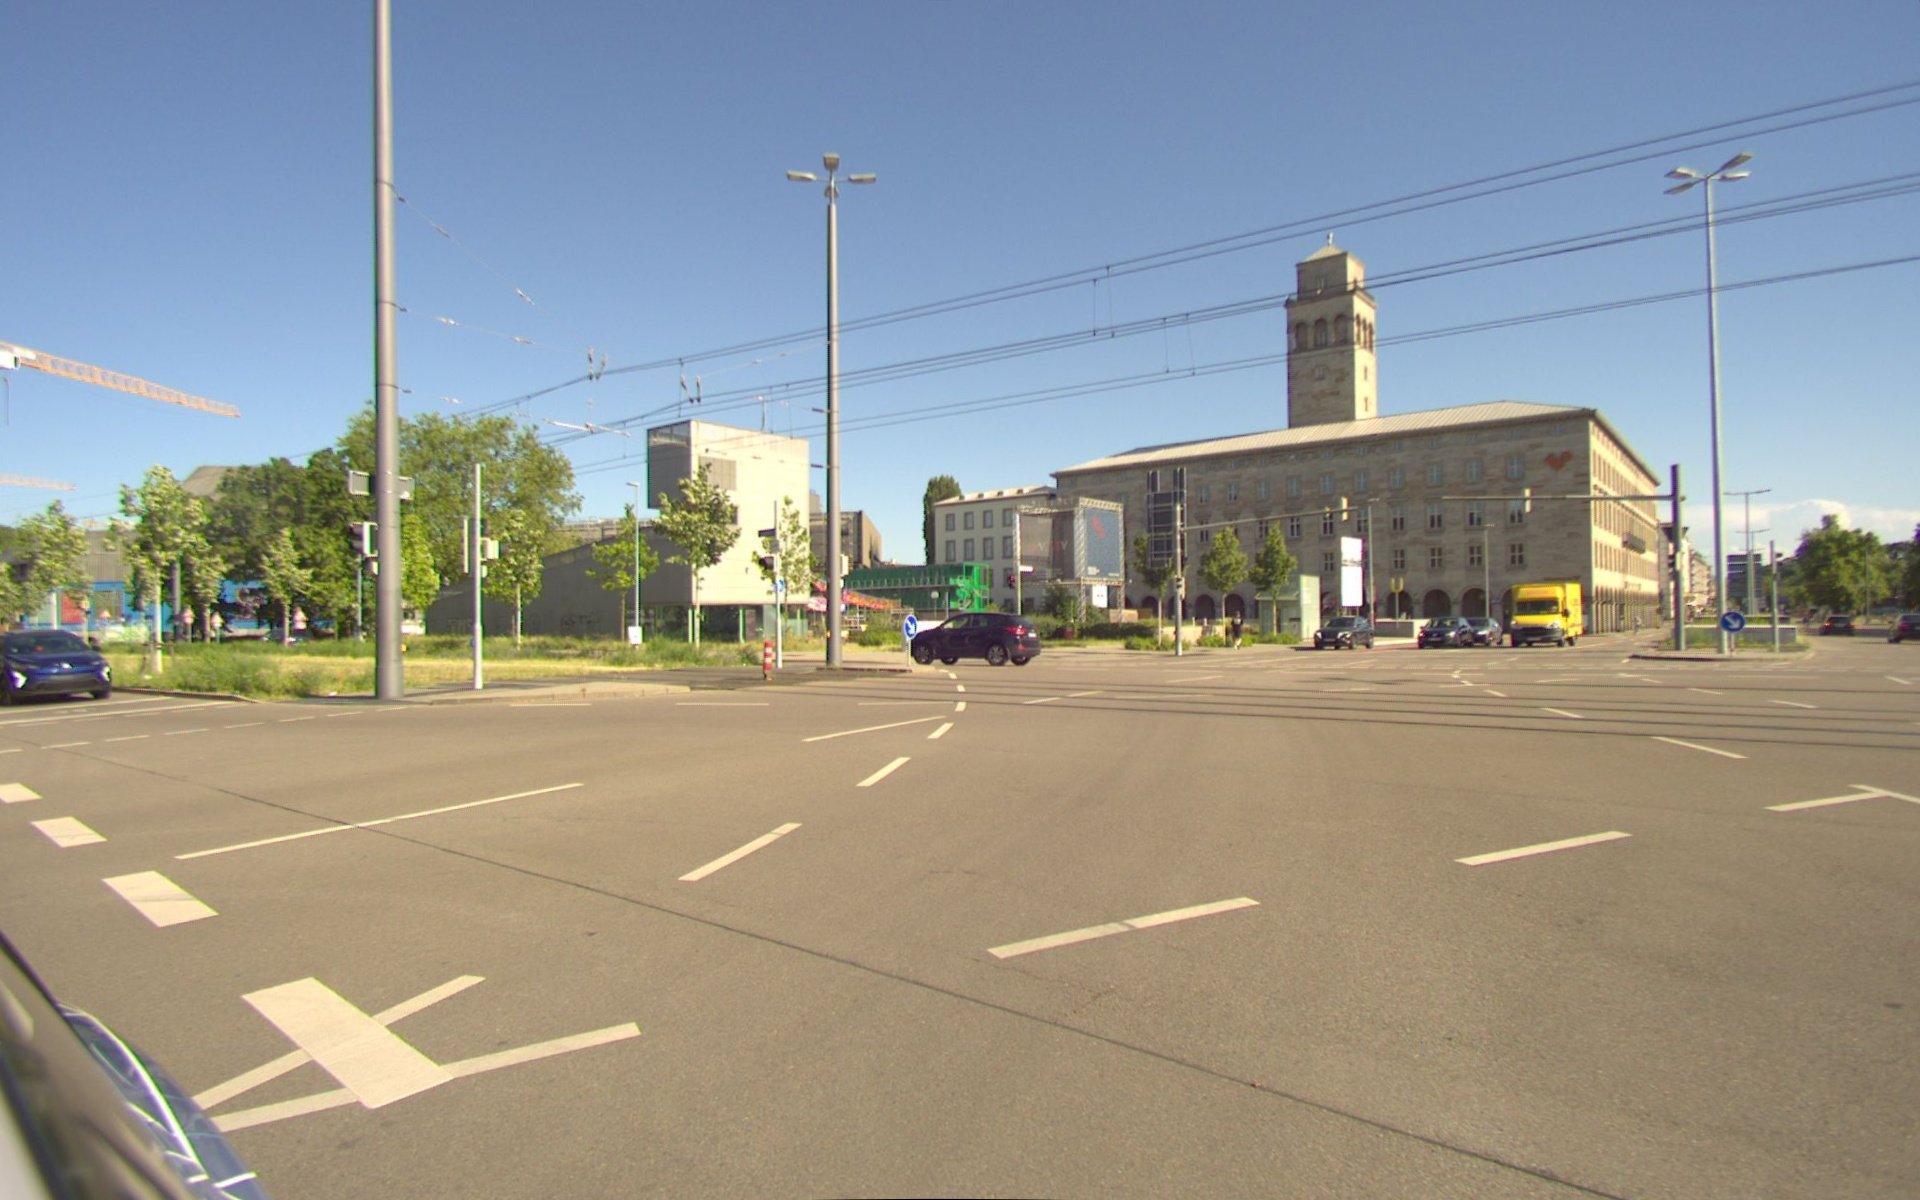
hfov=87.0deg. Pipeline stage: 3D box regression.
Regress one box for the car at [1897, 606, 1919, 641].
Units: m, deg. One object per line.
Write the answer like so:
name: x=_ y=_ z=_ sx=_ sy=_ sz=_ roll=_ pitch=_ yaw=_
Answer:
car: x=46.062 y=1.099 z=48.149 sx=1.999 sy=1.613 sz=3.946 roll=-2 pitch=-1 yaw=41

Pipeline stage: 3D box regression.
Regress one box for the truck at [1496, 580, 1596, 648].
truck: x=26.565 y=0.597 z=45.696 sx=2.461 sy=2.814 sz=7.925 roll=-2 pitch=-1 yaw=41

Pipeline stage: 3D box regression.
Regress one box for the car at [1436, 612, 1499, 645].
car: x=25.553 y=1.396 z=50.917 sx=1.902 sy=1.551 sz=3.946 roll=-2 pitch=-1 yaw=41

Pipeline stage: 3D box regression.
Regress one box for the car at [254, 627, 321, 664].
car: x=-37.546 y=2.547 z=56.491 sx=3.992 sy=1.970 sz=1.854 roll=-2 pitch=-2 yaw=36

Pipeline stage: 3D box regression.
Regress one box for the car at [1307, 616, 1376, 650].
car: x=18.882 y=1.595 z=50.004 sx=1.902 sy=1.551 sz=3.946 roll=-2 pitch=-1 yaw=41

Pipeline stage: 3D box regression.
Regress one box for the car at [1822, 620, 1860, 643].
car: x=63.572 y=2.257 z=73.047 sx=1.999 sy=1.613 sz=3.946 roll=-2 pitch=-1 yaw=41

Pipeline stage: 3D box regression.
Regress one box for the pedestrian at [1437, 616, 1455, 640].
pedestrian: x=36.333 y=2.096 z=75.662 sx=0.946 sy=1.698 sz=1.181 roll=-4 pitch=-2 yaw=36

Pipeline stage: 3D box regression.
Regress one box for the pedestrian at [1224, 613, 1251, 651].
pedestrian: x=13.097 y=1.492 z=47.731 sx=0.943 sy=1.698 sz=1.184 roll=-3 pitch=-1 yaw=29

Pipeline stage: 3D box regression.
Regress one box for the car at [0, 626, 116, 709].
car: x=-20.611 y=1.440 z=22.491 sx=4.077 sy=1.600 sz=1.756 roll=-2 pitch=0 yaw=34

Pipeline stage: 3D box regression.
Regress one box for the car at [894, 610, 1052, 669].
car: x=0.391 y=1.223 z=31.686 sx=4.538 sy=1.720 sz=1.981 roll=-2 pitch=-1 yaw=28

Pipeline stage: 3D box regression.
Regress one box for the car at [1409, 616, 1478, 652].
car: x=22.373 y=1.539 z=46.736 sx=1.902 sy=1.551 sz=3.946 roll=-2 pitch=-1 yaw=41
